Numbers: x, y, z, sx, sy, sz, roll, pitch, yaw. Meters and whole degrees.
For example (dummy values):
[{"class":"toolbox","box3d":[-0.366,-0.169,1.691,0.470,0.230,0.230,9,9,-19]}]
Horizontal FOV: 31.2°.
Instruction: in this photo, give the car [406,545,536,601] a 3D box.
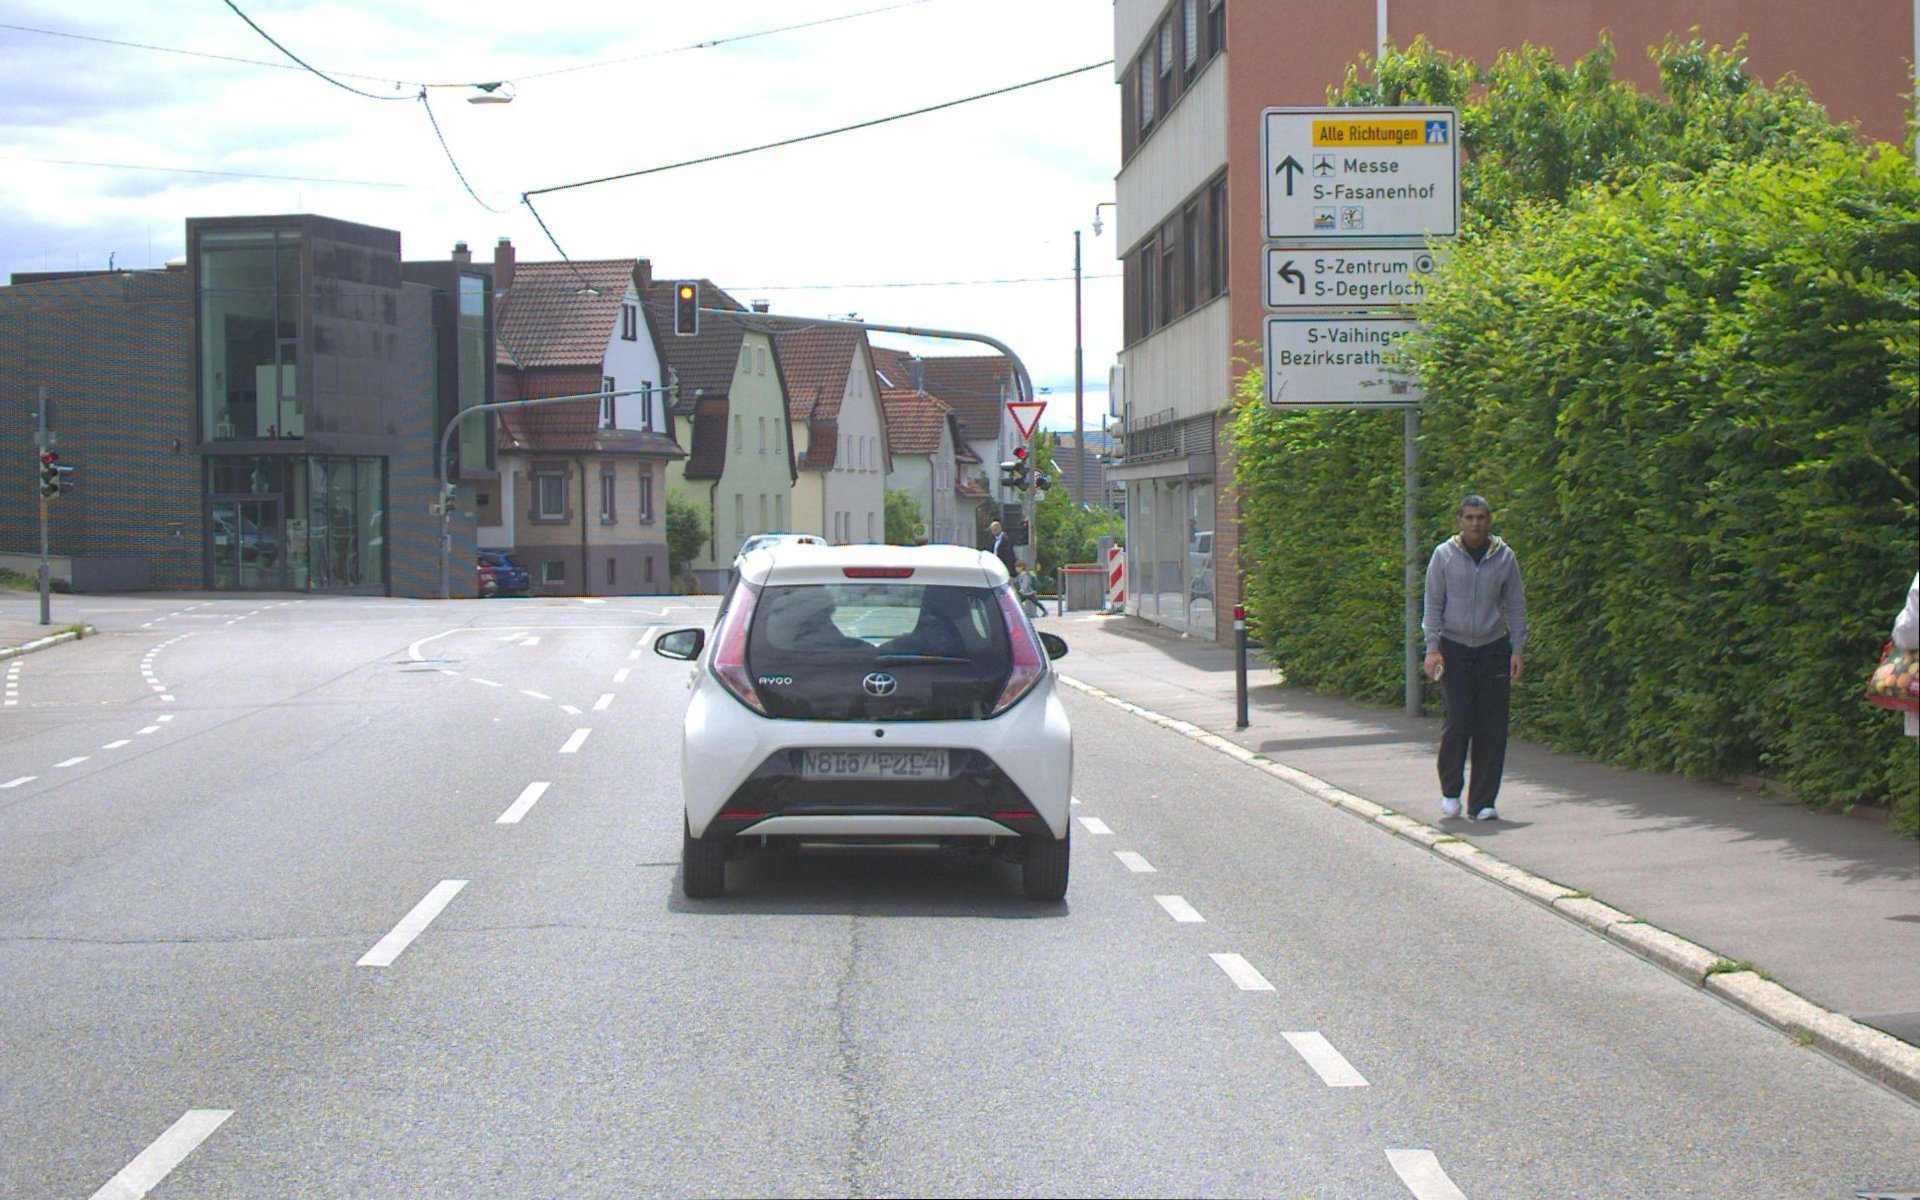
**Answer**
[{"class":"car","box3d":[-15.034,-0.831,105.760,3.616,1.600,1.691,2,1,9]}]

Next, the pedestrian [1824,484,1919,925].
[{"class":"pedestrian","box3d":[3.758,0.369,12.941,0.799,1.612,0.653,-2,1,-1]}]

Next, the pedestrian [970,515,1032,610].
[{"class":"pedestrian","box3d":[0.750,-0.690,62.878,0.822,1.715,0.817,0,1,-33]}]

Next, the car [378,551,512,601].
[{"class":"car","box3d":[-15.503,-0.726,103.616,3.616,1.414,1.691,2,1,9]}]

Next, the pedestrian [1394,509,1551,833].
[{"class":"pedestrian","box3d":[2.620,0.348,17.636,0.602,1.600,0.836,-2,1,-1]}]

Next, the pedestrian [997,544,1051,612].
[{"class":"pedestrian","box3d":[1.160,-0.407,62.270,0.733,1.217,0.646,0,1,-33]}]

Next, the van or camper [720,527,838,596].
[{"class":"van or camper","box3d":[-5.276,-1.127,100.982,2.117,1.919,5.282,2,1,12]}]

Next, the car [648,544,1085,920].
[{"class":"car","box3d":[-0.418,0.504,15.283,1.697,1.451,3.299,1,1,-2]}]
